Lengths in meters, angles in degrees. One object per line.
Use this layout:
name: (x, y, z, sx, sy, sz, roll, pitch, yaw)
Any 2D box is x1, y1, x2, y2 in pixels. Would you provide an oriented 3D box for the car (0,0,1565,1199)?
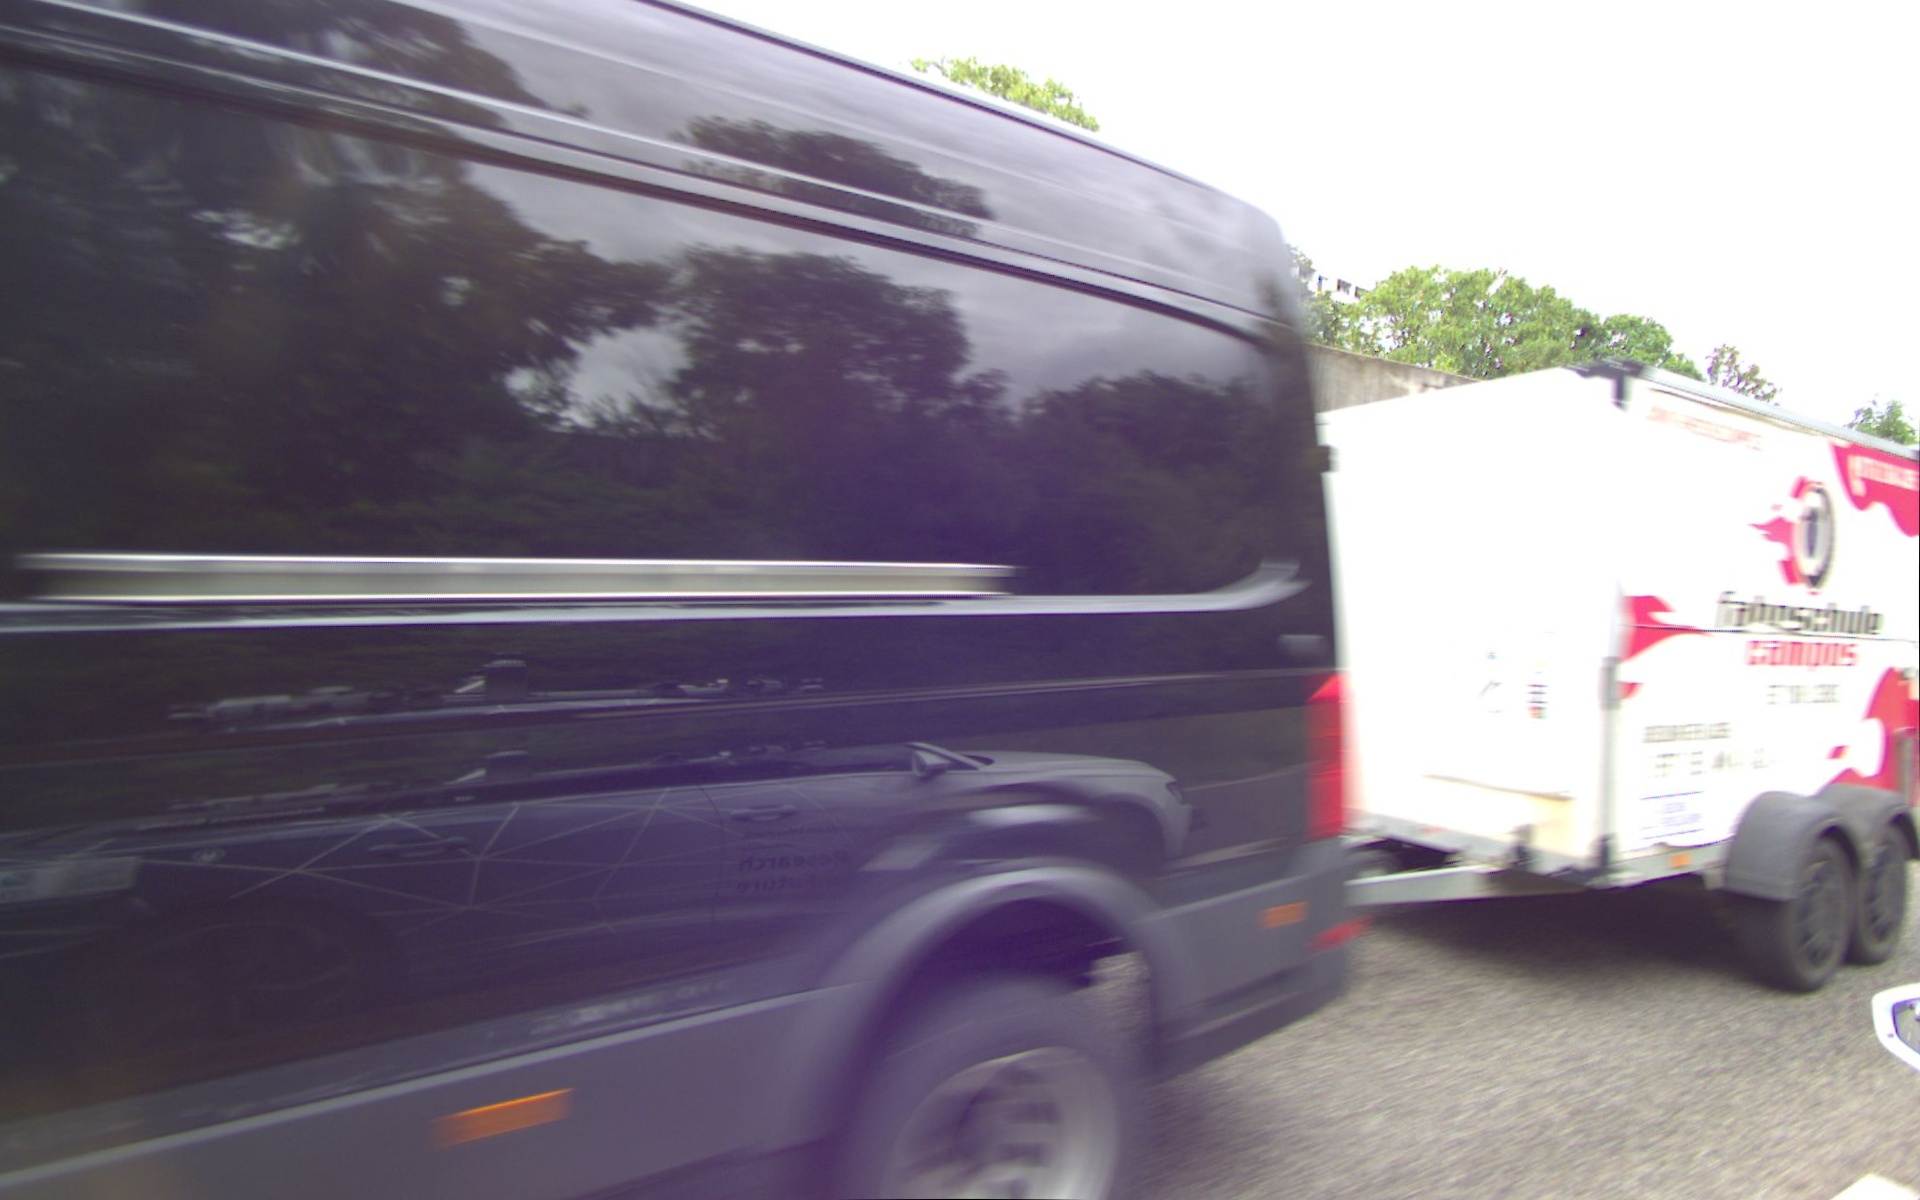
car: (-2.025, 0.084, 1.813, 7.330, 2.665, 2.099, 1, 0, -31)

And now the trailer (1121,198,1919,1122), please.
trailer: (3.156, 0.213, 4.913, 4.320, 2.665, 2.099, 1, 0, -30)
